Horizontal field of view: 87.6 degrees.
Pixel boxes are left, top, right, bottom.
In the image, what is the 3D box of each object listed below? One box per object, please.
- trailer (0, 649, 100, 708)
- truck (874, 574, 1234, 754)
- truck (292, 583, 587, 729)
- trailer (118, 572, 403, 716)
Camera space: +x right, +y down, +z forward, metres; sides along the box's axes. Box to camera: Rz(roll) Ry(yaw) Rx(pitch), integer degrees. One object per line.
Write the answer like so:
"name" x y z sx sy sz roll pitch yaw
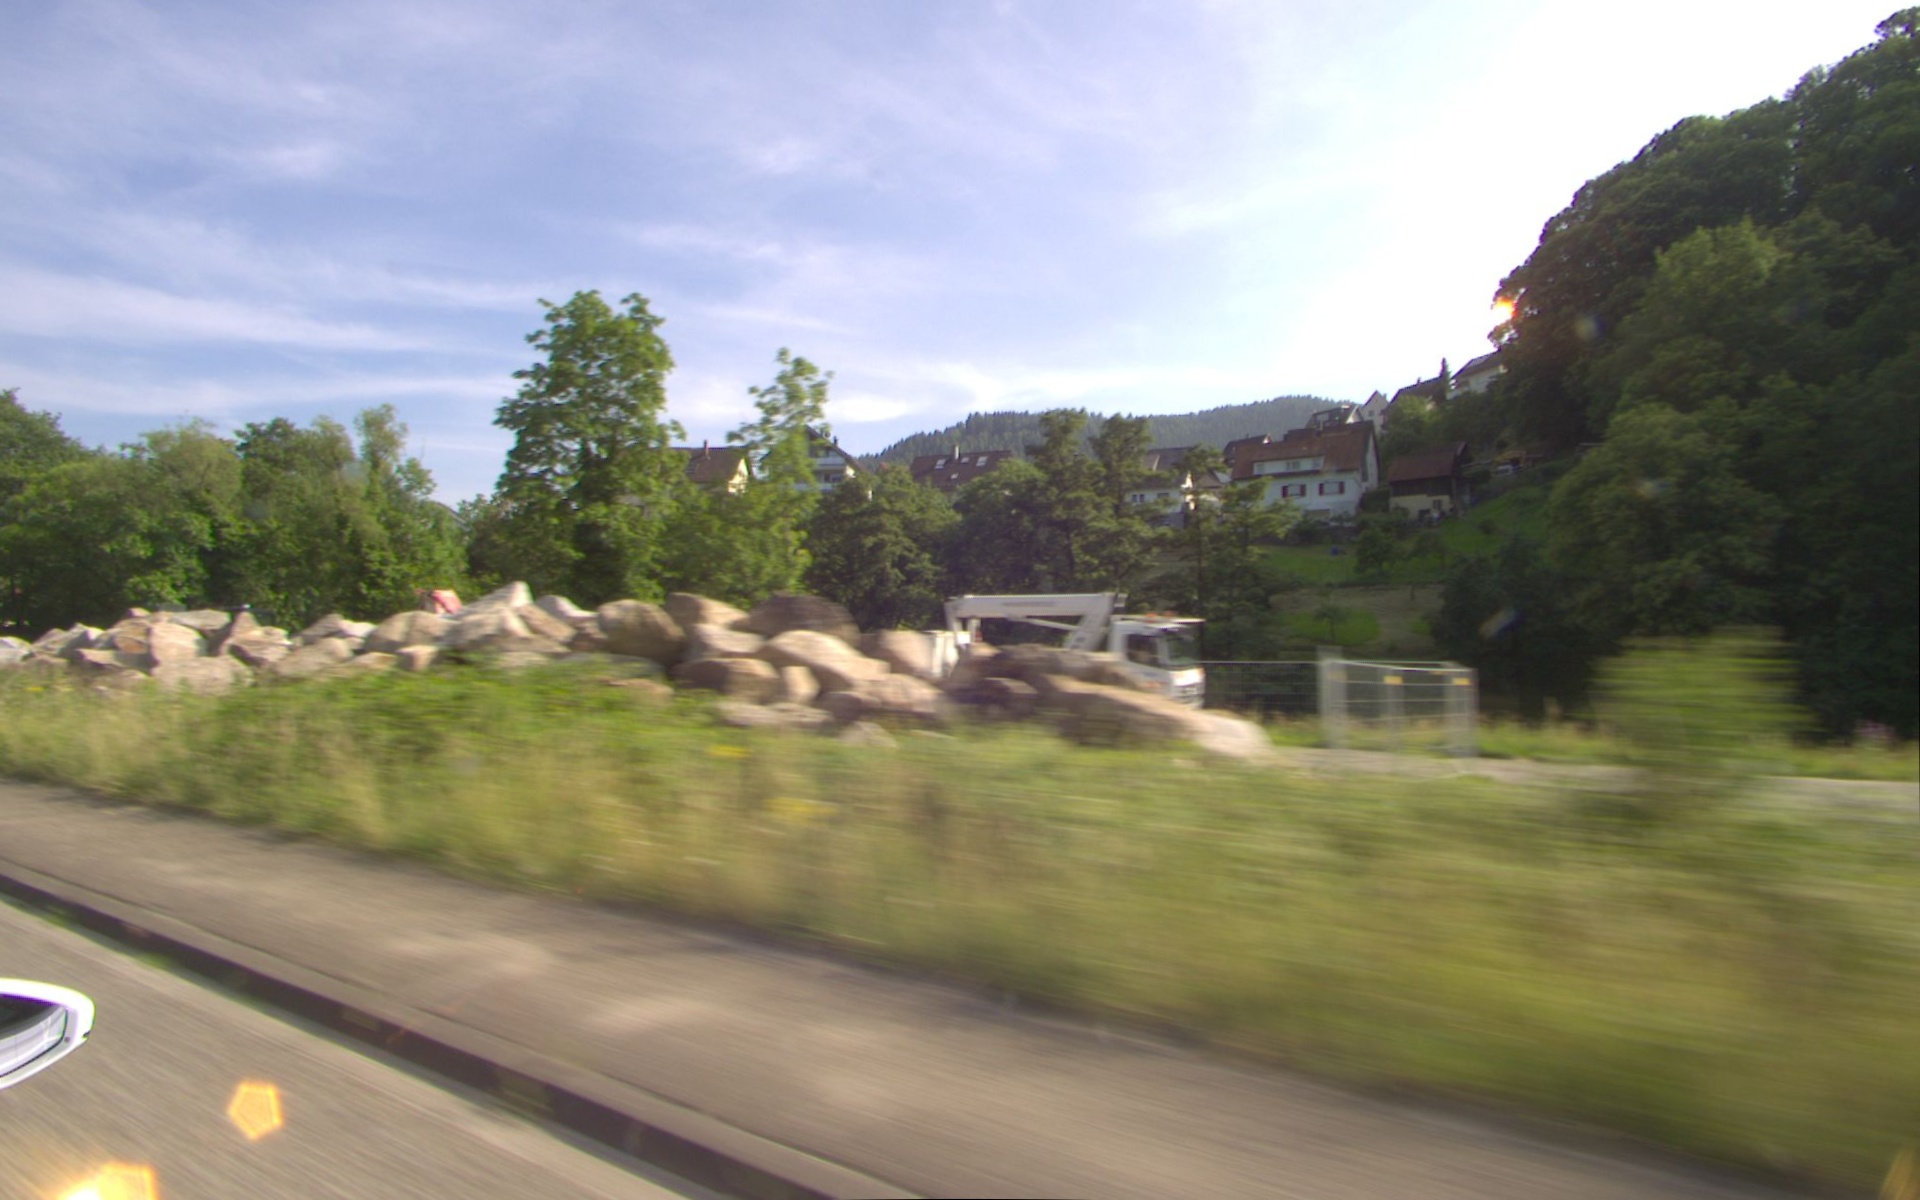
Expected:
"trailer" -30.975 2.563 33.000 4.712 1.844 2.057 -1 -4 23
"truck" 2.171 1.550 25.053 8.527 3.827 3.098 -1 -4 34
"truck" -15.419 1.627 29.548 8.504 3.827 3.106 0 -4 26
"trailer" -23.561 1.535 33.631 9.750 4.325 3.368 -1 -4 26
